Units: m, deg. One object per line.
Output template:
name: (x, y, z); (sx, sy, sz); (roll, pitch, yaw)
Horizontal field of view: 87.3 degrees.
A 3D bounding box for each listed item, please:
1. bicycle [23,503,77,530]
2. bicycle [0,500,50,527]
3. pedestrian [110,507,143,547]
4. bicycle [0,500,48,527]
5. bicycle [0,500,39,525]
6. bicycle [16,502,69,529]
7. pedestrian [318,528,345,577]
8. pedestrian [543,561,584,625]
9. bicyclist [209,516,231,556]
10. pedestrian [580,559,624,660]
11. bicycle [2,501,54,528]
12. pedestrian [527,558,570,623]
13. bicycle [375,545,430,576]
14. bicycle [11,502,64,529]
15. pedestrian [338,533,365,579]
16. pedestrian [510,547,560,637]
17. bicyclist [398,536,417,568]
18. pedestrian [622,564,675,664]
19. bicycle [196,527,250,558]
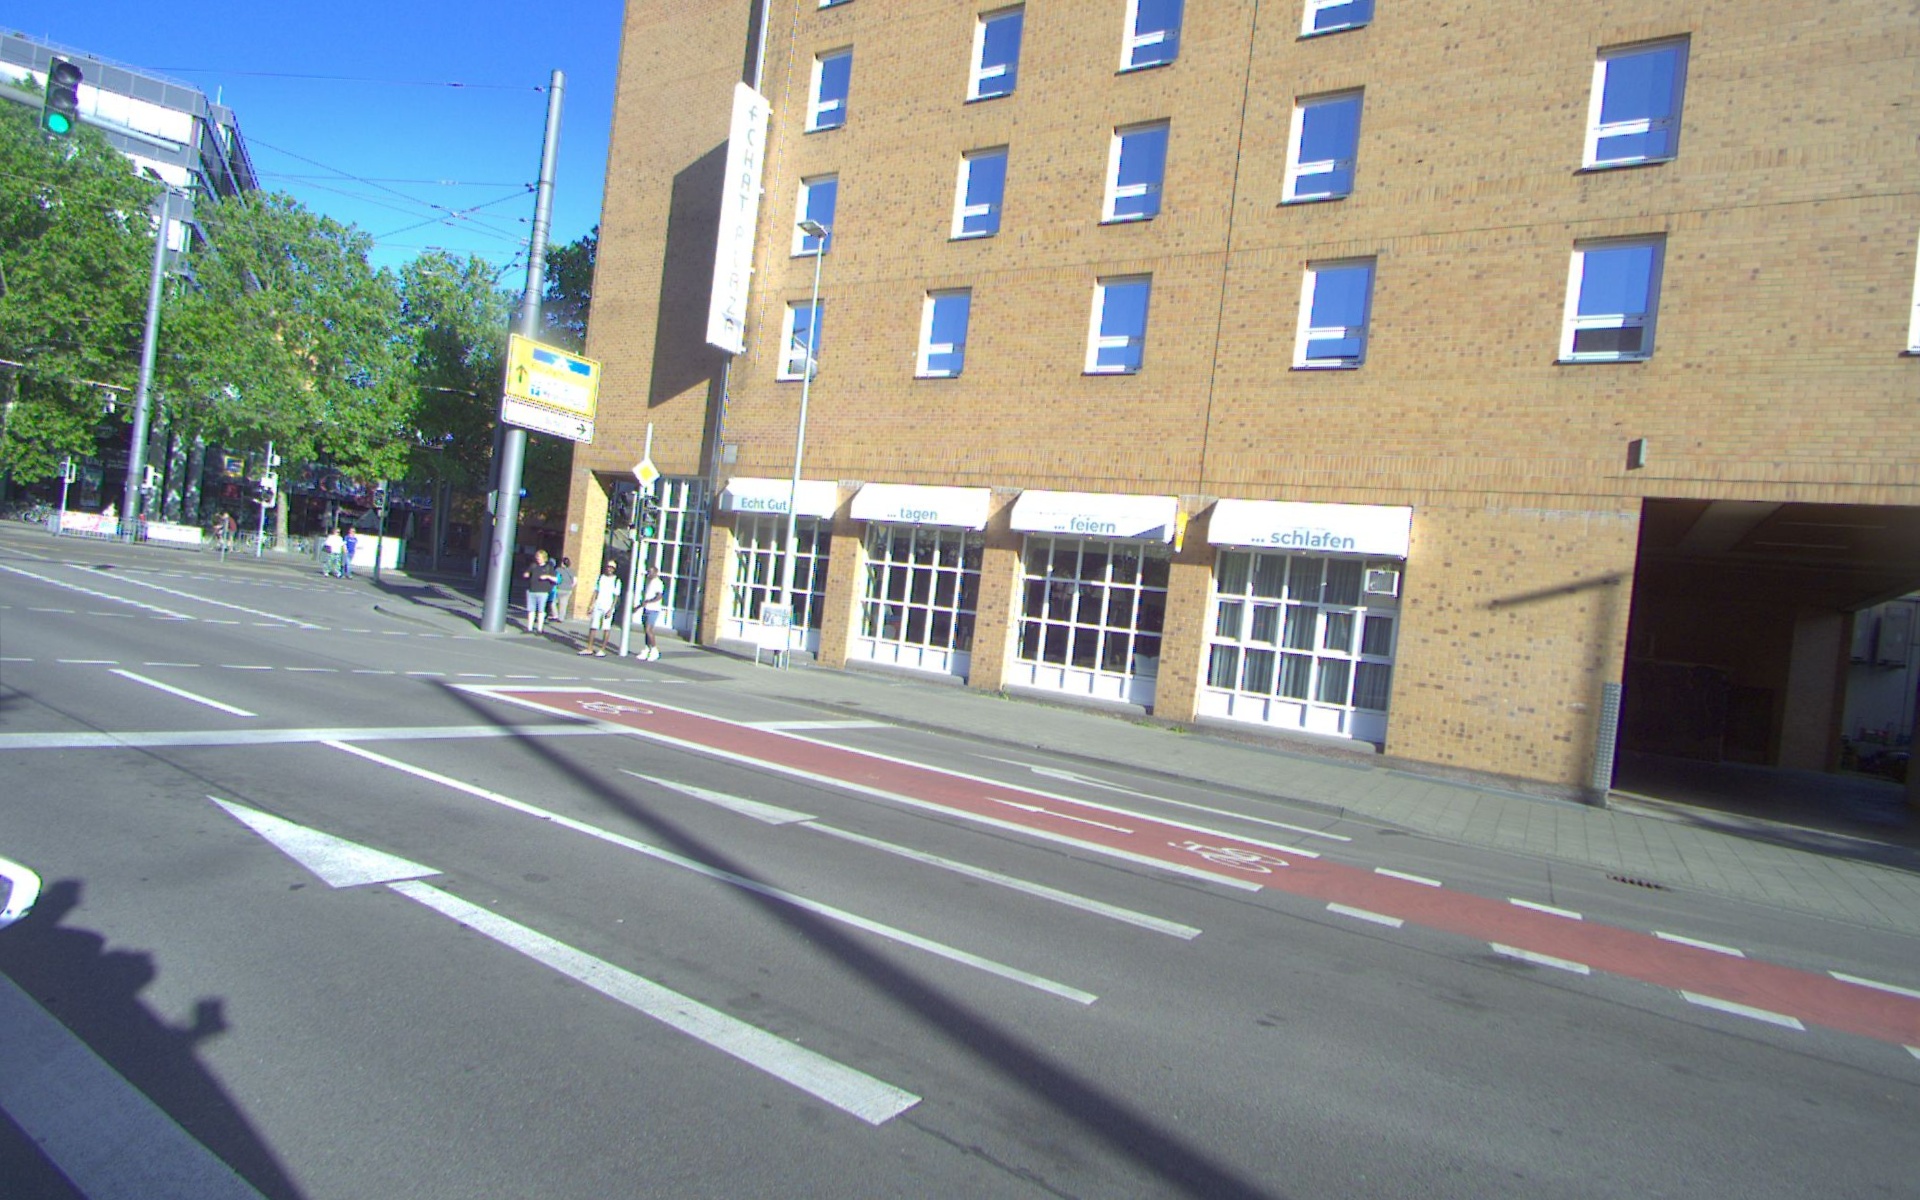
bicycle: (-45.997, -4.223, 50.867); (0.354, 1.058, 1.884); (6, -2, 31)
bicycle: (-48.783, -4.489, 52.455); (0.354, 1.058, 1.885); (7, -2, 31)
pedestrian: (-39.157, -3.417, 47.258); (0.747, 1.724, 0.834); (6, -1, 32)
bicycle: (-49.180, -4.534, 52.747); (0.354, 1.058, 1.885); (7, -2, 31)
bicycle: (-50.163, -4.646, 53.297); (0.354, 1.058, 1.885); (7, -2, 31)
bicycle: (-46.696, -4.287, 51.193); (0.354, 1.058, 1.884); (6, -2, 31)
pedestrian: (-21.078, -1.585, 33.729); (0.563, 1.550, 0.695); (8, -2, -37)
pedestrian: (-9.741, -0.159, 24.714); (0.543, 1.495, 0.593); (6, 0, 32)
bicyclist: (-36.372, -3.147, 49.465); (0.396, 1.859, 0.585); (6, -1, 31)
pedestrian: (-6.753, 0.175, 18.949); (0.587, 1.804, 0.677); (4, 3, -27)
bicycle: (-48.367, -4.433, 52.228); (0.354, 1.058, 1.884); (6, -2, 31)
pedestrian: (-9.851, -0.231, 24.065); (0.591, 1.470, 0.593); (6, 0, 32)
bicycle: (-28.038, -1.987, 50.635); (2.302, 1.191, 0.565); (8, -2, -26)
bicycle: (-47.354, -4.339, 51.651); (0.354, 1.058, 1.884); (6, -2, 31)
pedestrian: (-20.761, -1.506, 34.298); (0.563, 1.496, 0.695); (8, -2, -37)
pedestrian: (-9.058, -0.159, 21.458); (0.726, 1.813, 0.510); (7, -1, -19)
bicyclist: (-27.854, -2.404, 50.713); (0.626, 1.536, 0.564); (7, -1, -24)
pedestrian: (-5.919, 0.268, 19.149); (0.583, 1.802, 0.682); (6, 0, 6)
bicycle: (-36.323, -2.820, 49.592); (0.414, 1.228, 2.046); (6, -2, 32)
